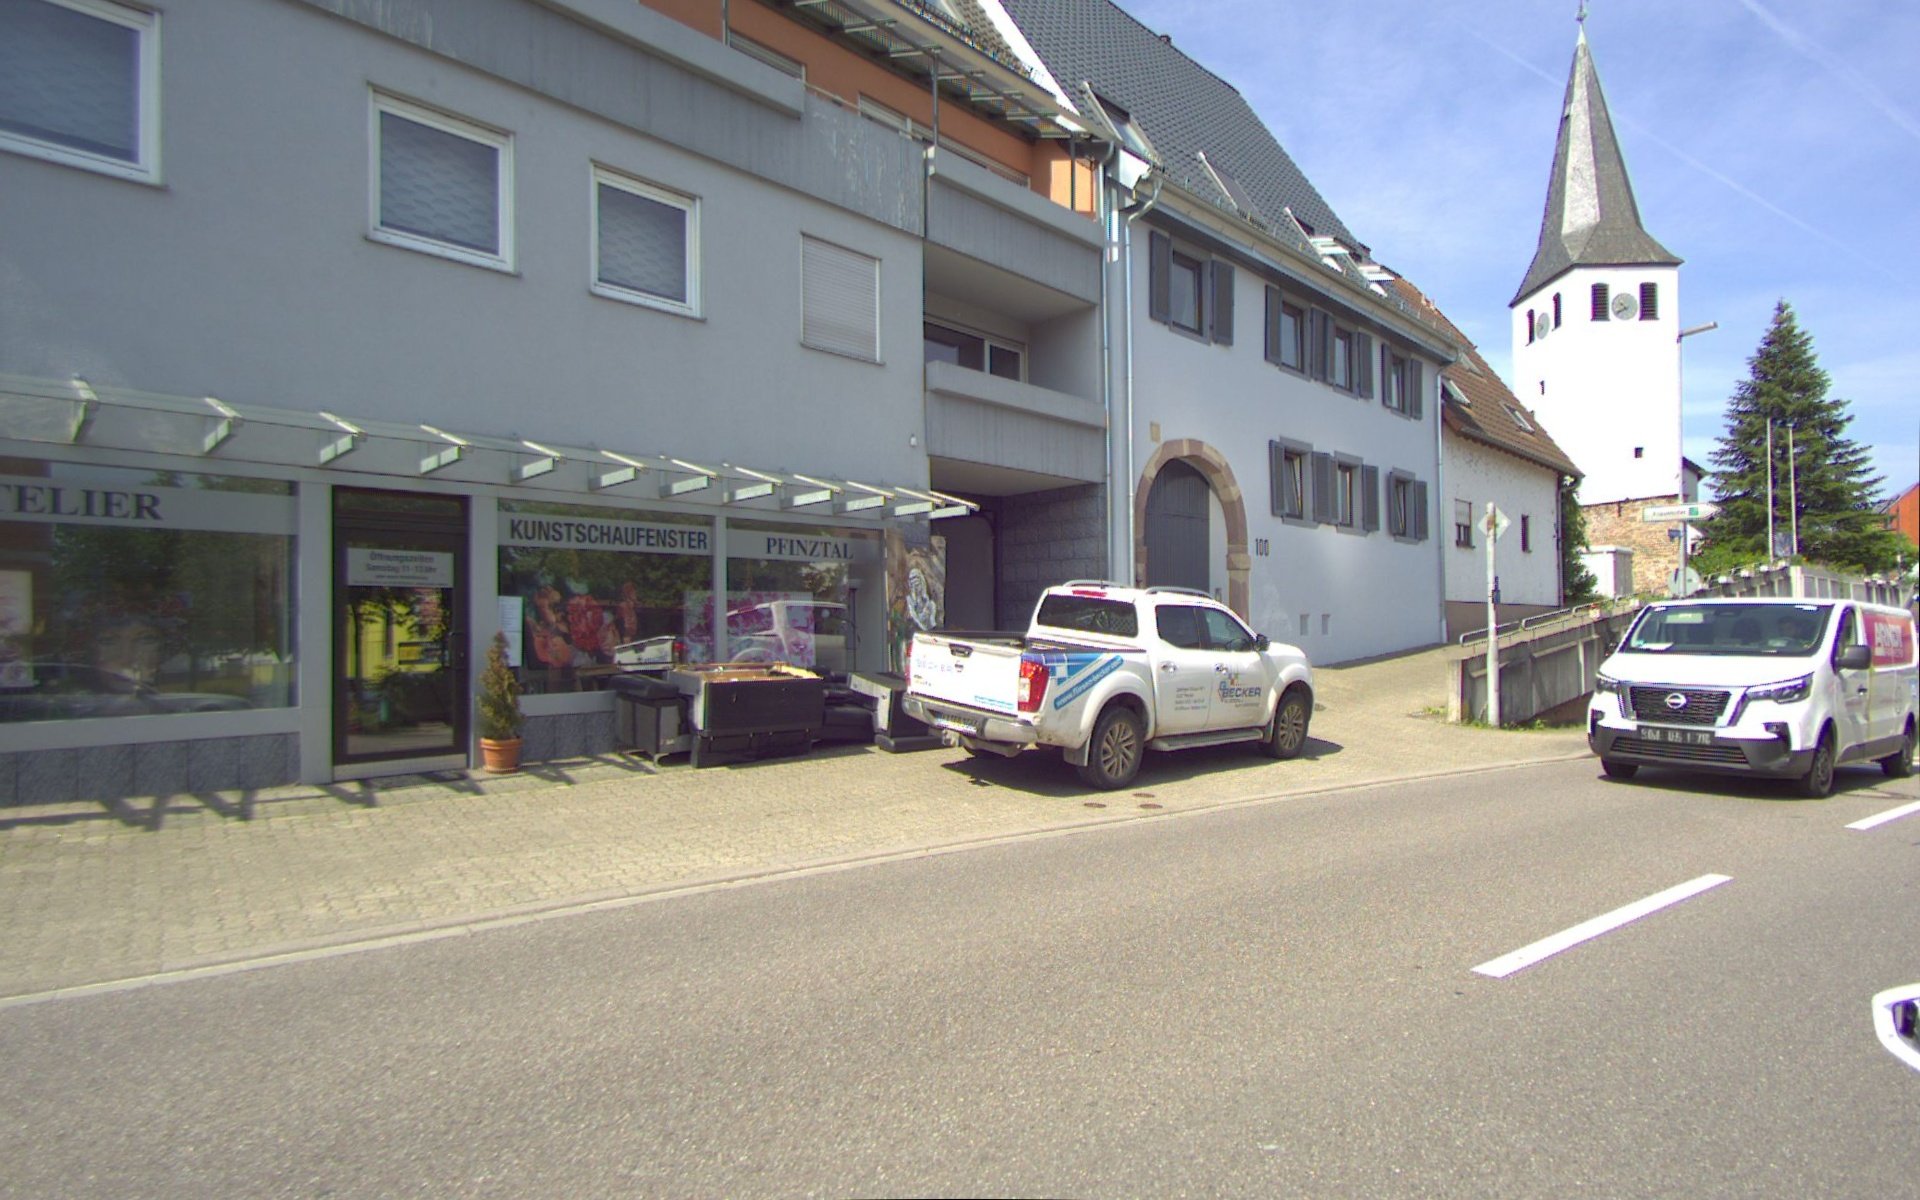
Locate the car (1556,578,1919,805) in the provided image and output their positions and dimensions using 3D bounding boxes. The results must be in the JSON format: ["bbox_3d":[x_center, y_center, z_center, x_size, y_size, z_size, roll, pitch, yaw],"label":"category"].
[{"bbox_3d":[8.808,0.875,11.016,5.262,1.958,1.956,1,-3,-36],"label":"car"}]

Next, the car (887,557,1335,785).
[{"bbox_3d":[1.847,0.696,10.500,5.250,1.822,1.787,4,-3,-44],"label":"car"}]
